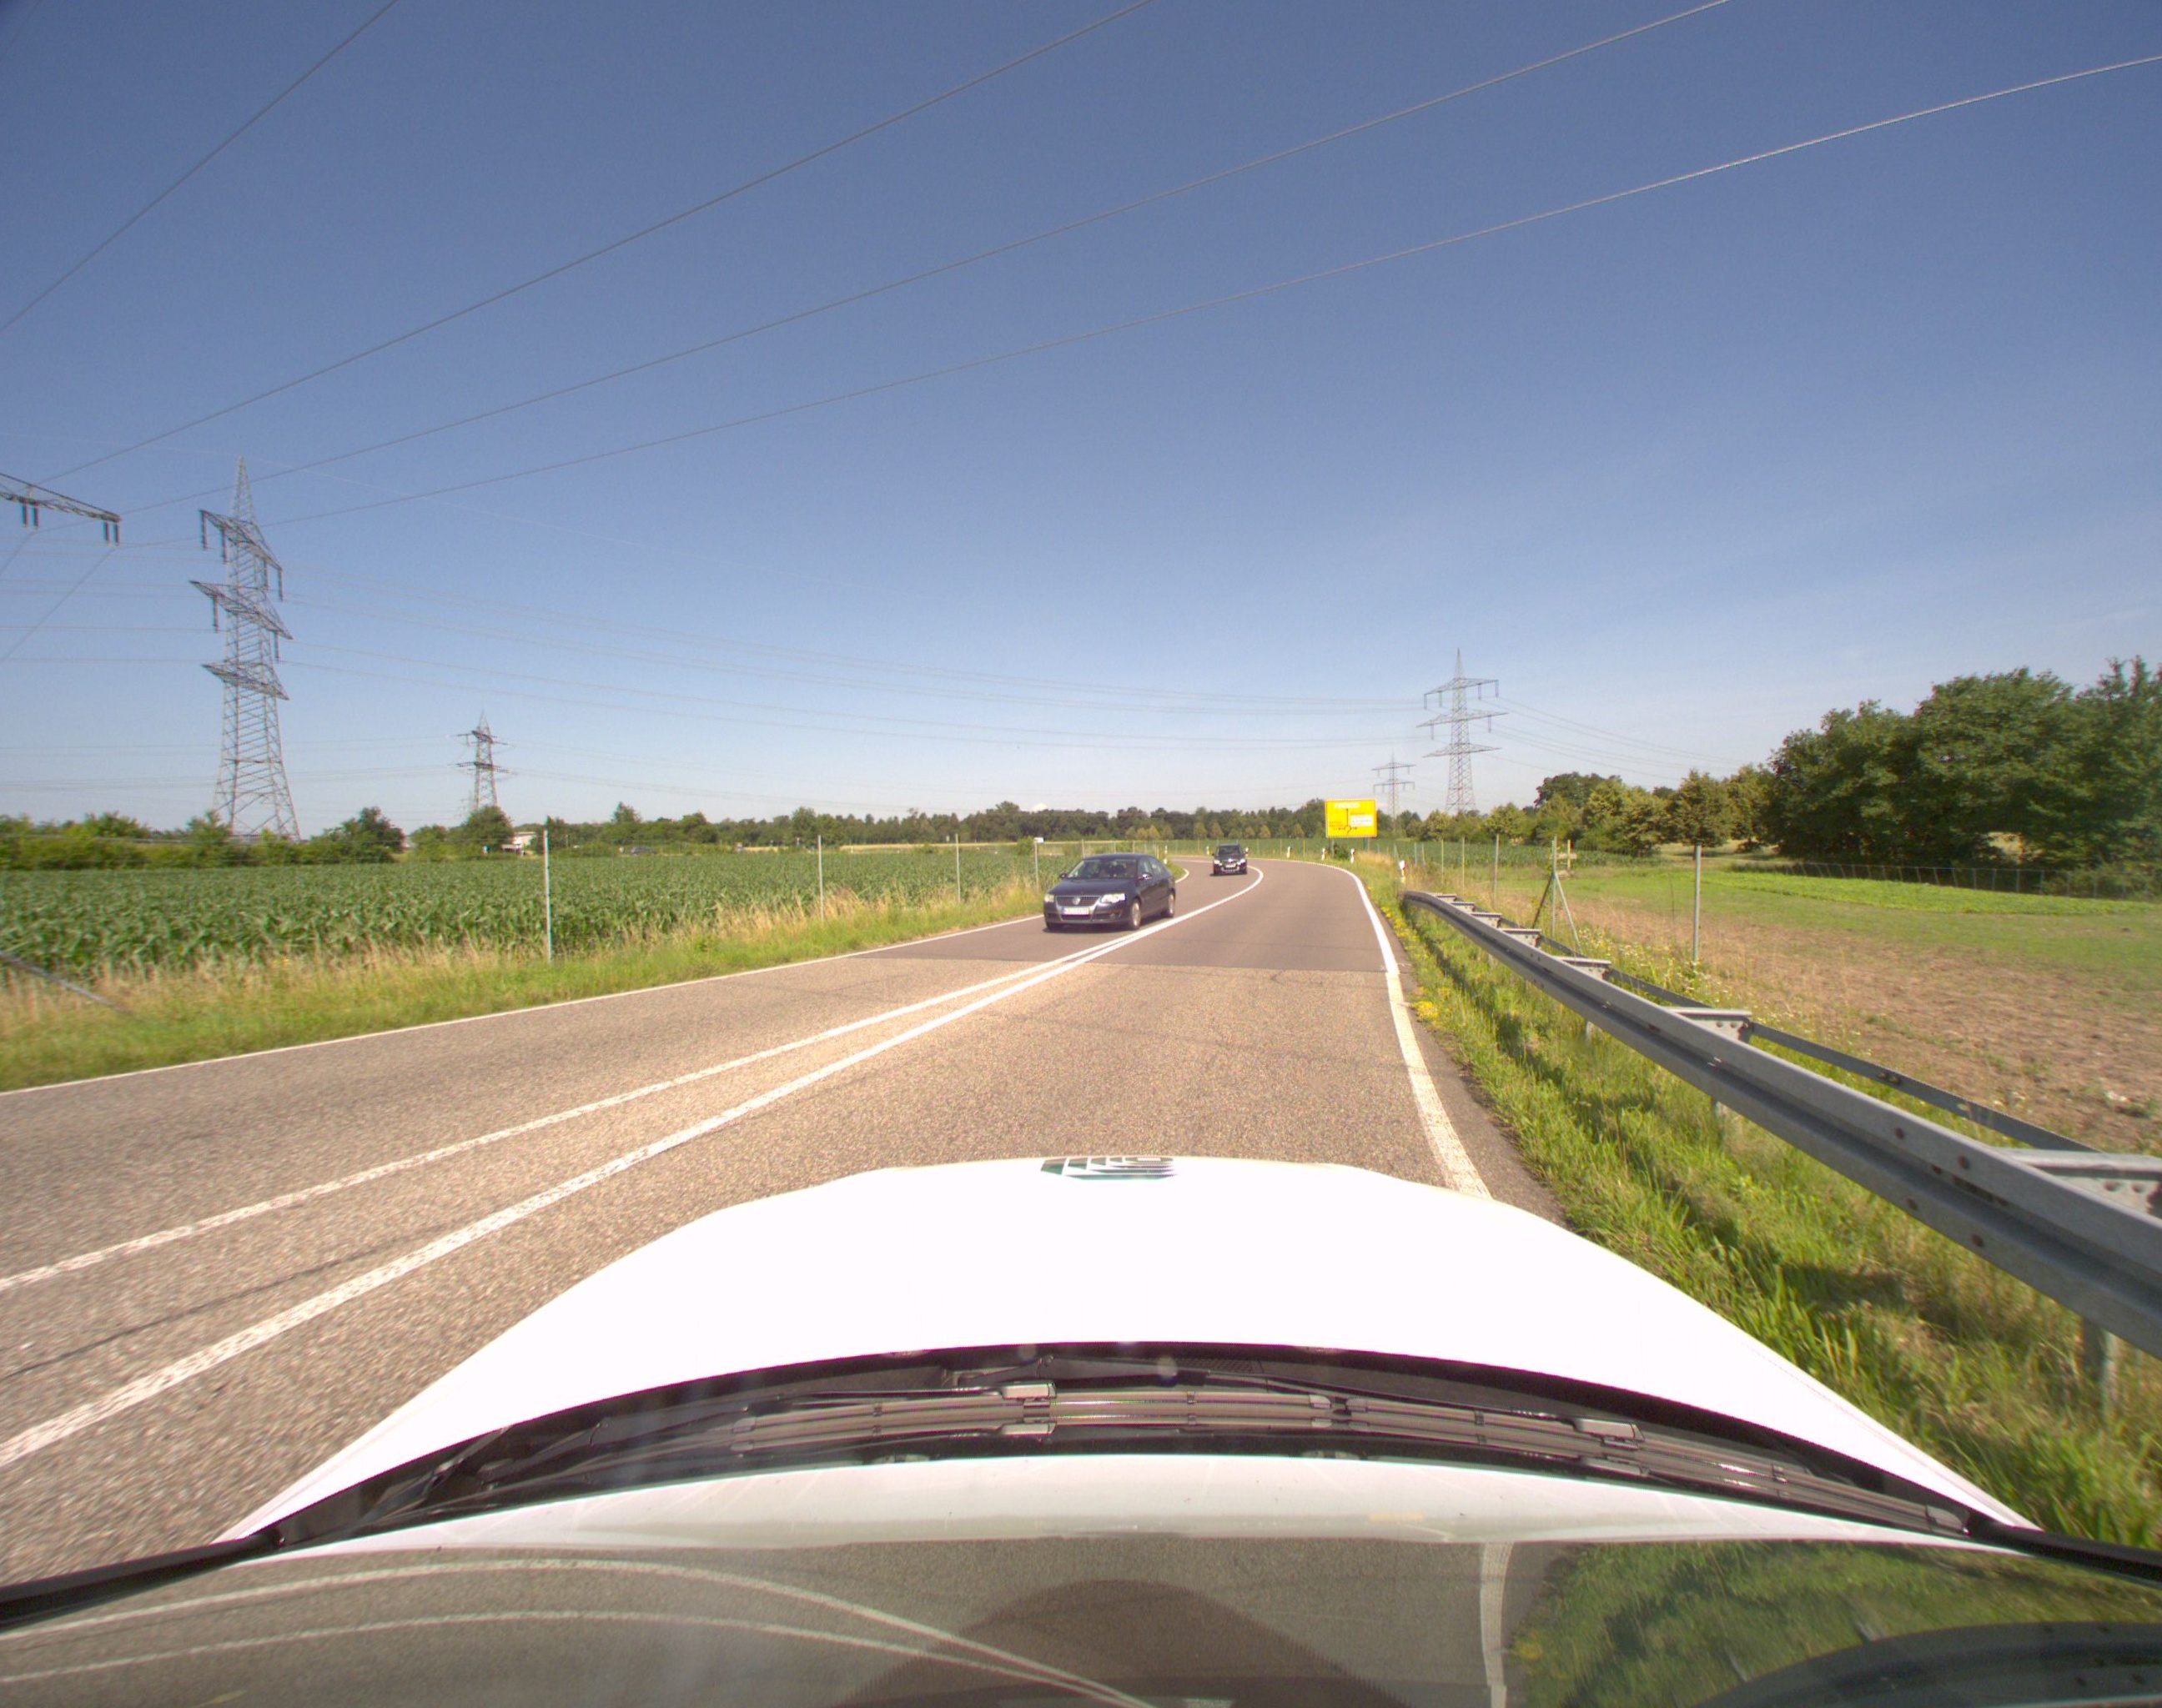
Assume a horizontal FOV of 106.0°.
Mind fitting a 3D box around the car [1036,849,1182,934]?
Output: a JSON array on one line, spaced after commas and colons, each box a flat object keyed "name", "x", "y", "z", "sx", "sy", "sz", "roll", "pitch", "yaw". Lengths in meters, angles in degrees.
[{"name": "car", "x": 0.755, "y": 0.678, "z": 16.832, "sx": 1.760, "sy": 1.456, "sz": 4.614, "roll": -2, "pitch": 0, "yaw": 18}]

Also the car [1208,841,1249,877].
[{"name": "car", "x": 7.955, "y": 0.238, "z": 44.216, "sx": 1.972, "sy": 1.706, "sz": 4.272, "roll": -4, "pitch": 0, "yaw": 8}]
